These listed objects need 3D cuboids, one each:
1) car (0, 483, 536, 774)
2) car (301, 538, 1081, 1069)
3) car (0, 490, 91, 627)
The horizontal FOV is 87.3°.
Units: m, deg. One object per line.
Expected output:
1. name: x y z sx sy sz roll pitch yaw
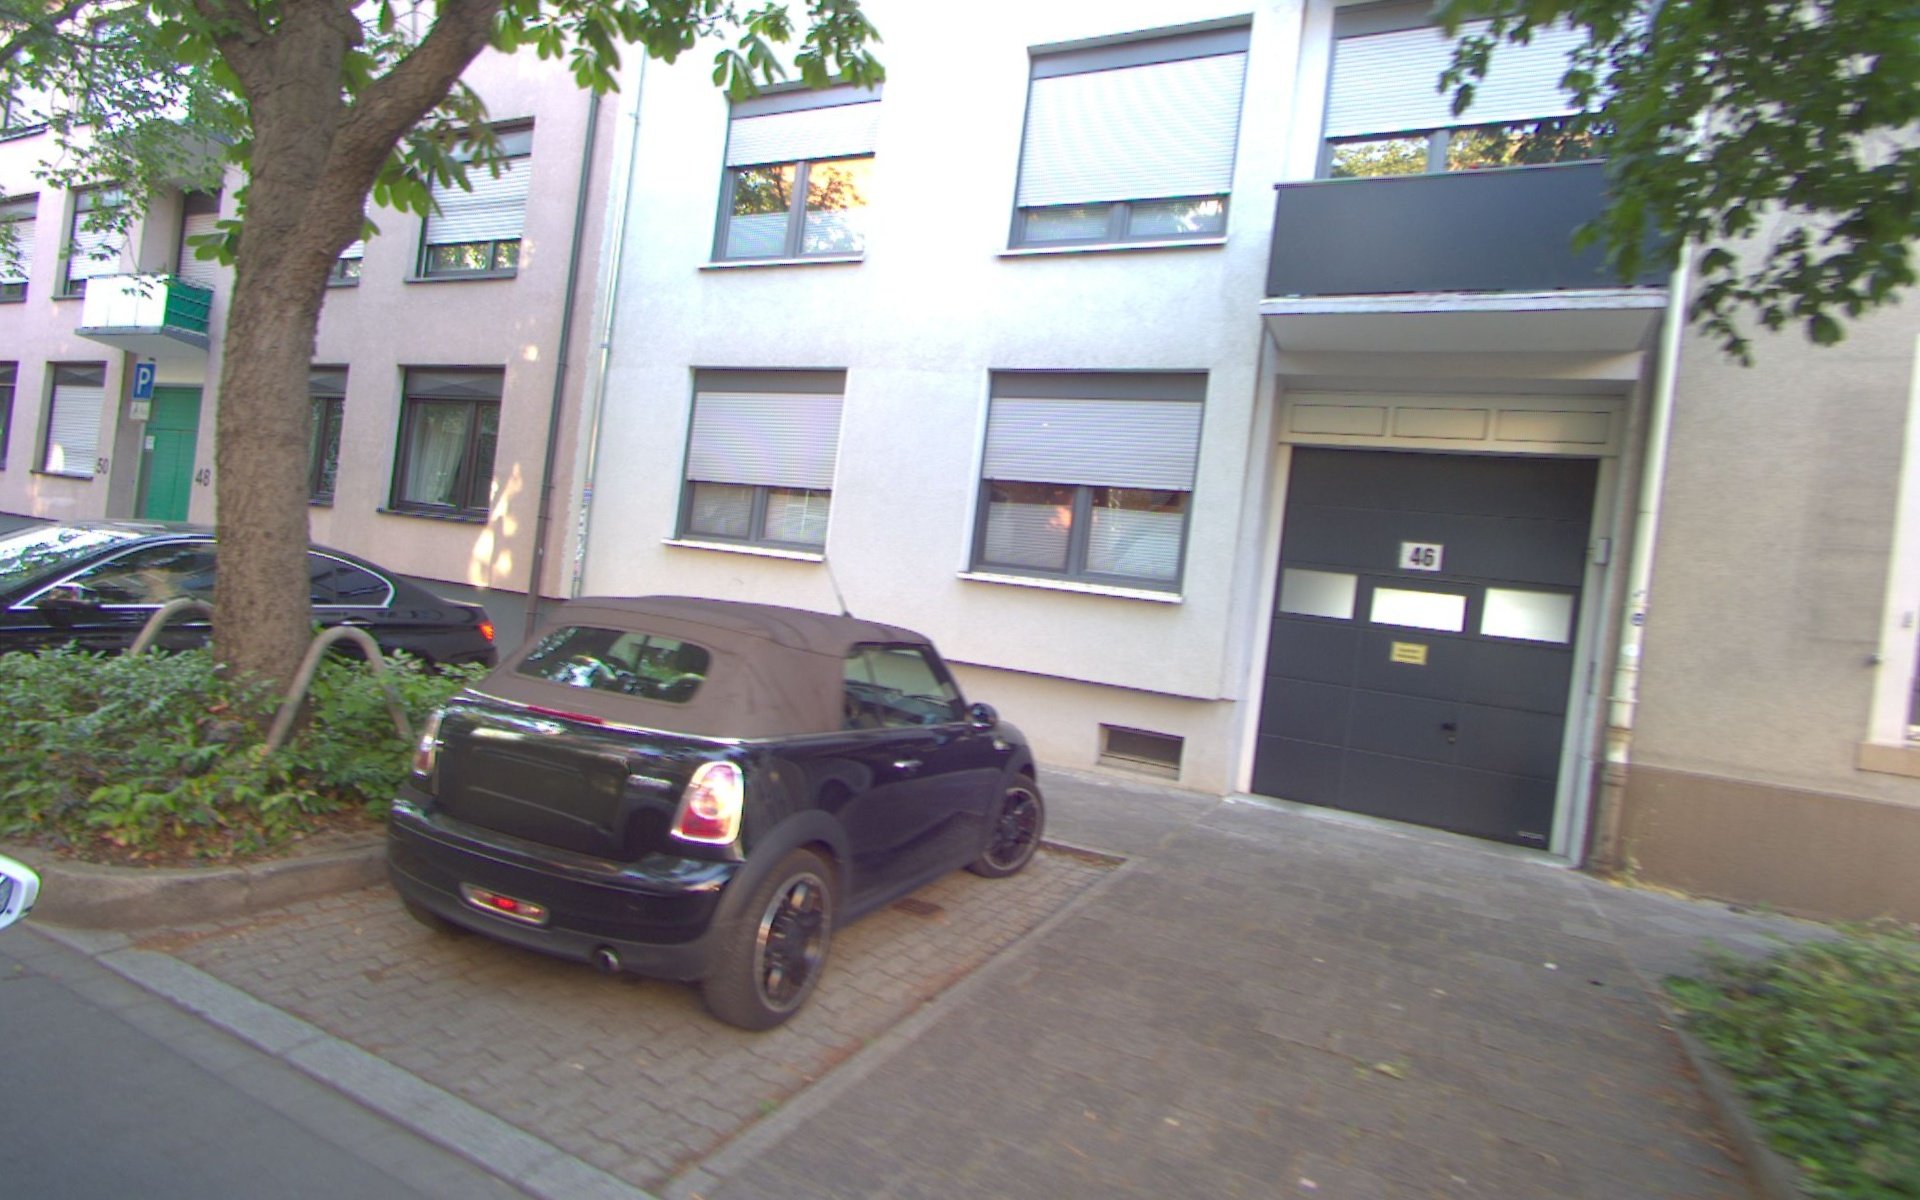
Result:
1. car: -5.317 0.124 6.342 1.768 1.497 4.757 7 -1 27
2. car: -0.779 0.676 4.849 1.634 1.380 3.621 7 -1 23
3. car: -12.005 -0.646 10.583 1.635 1.494 3.920 7 -1 25
